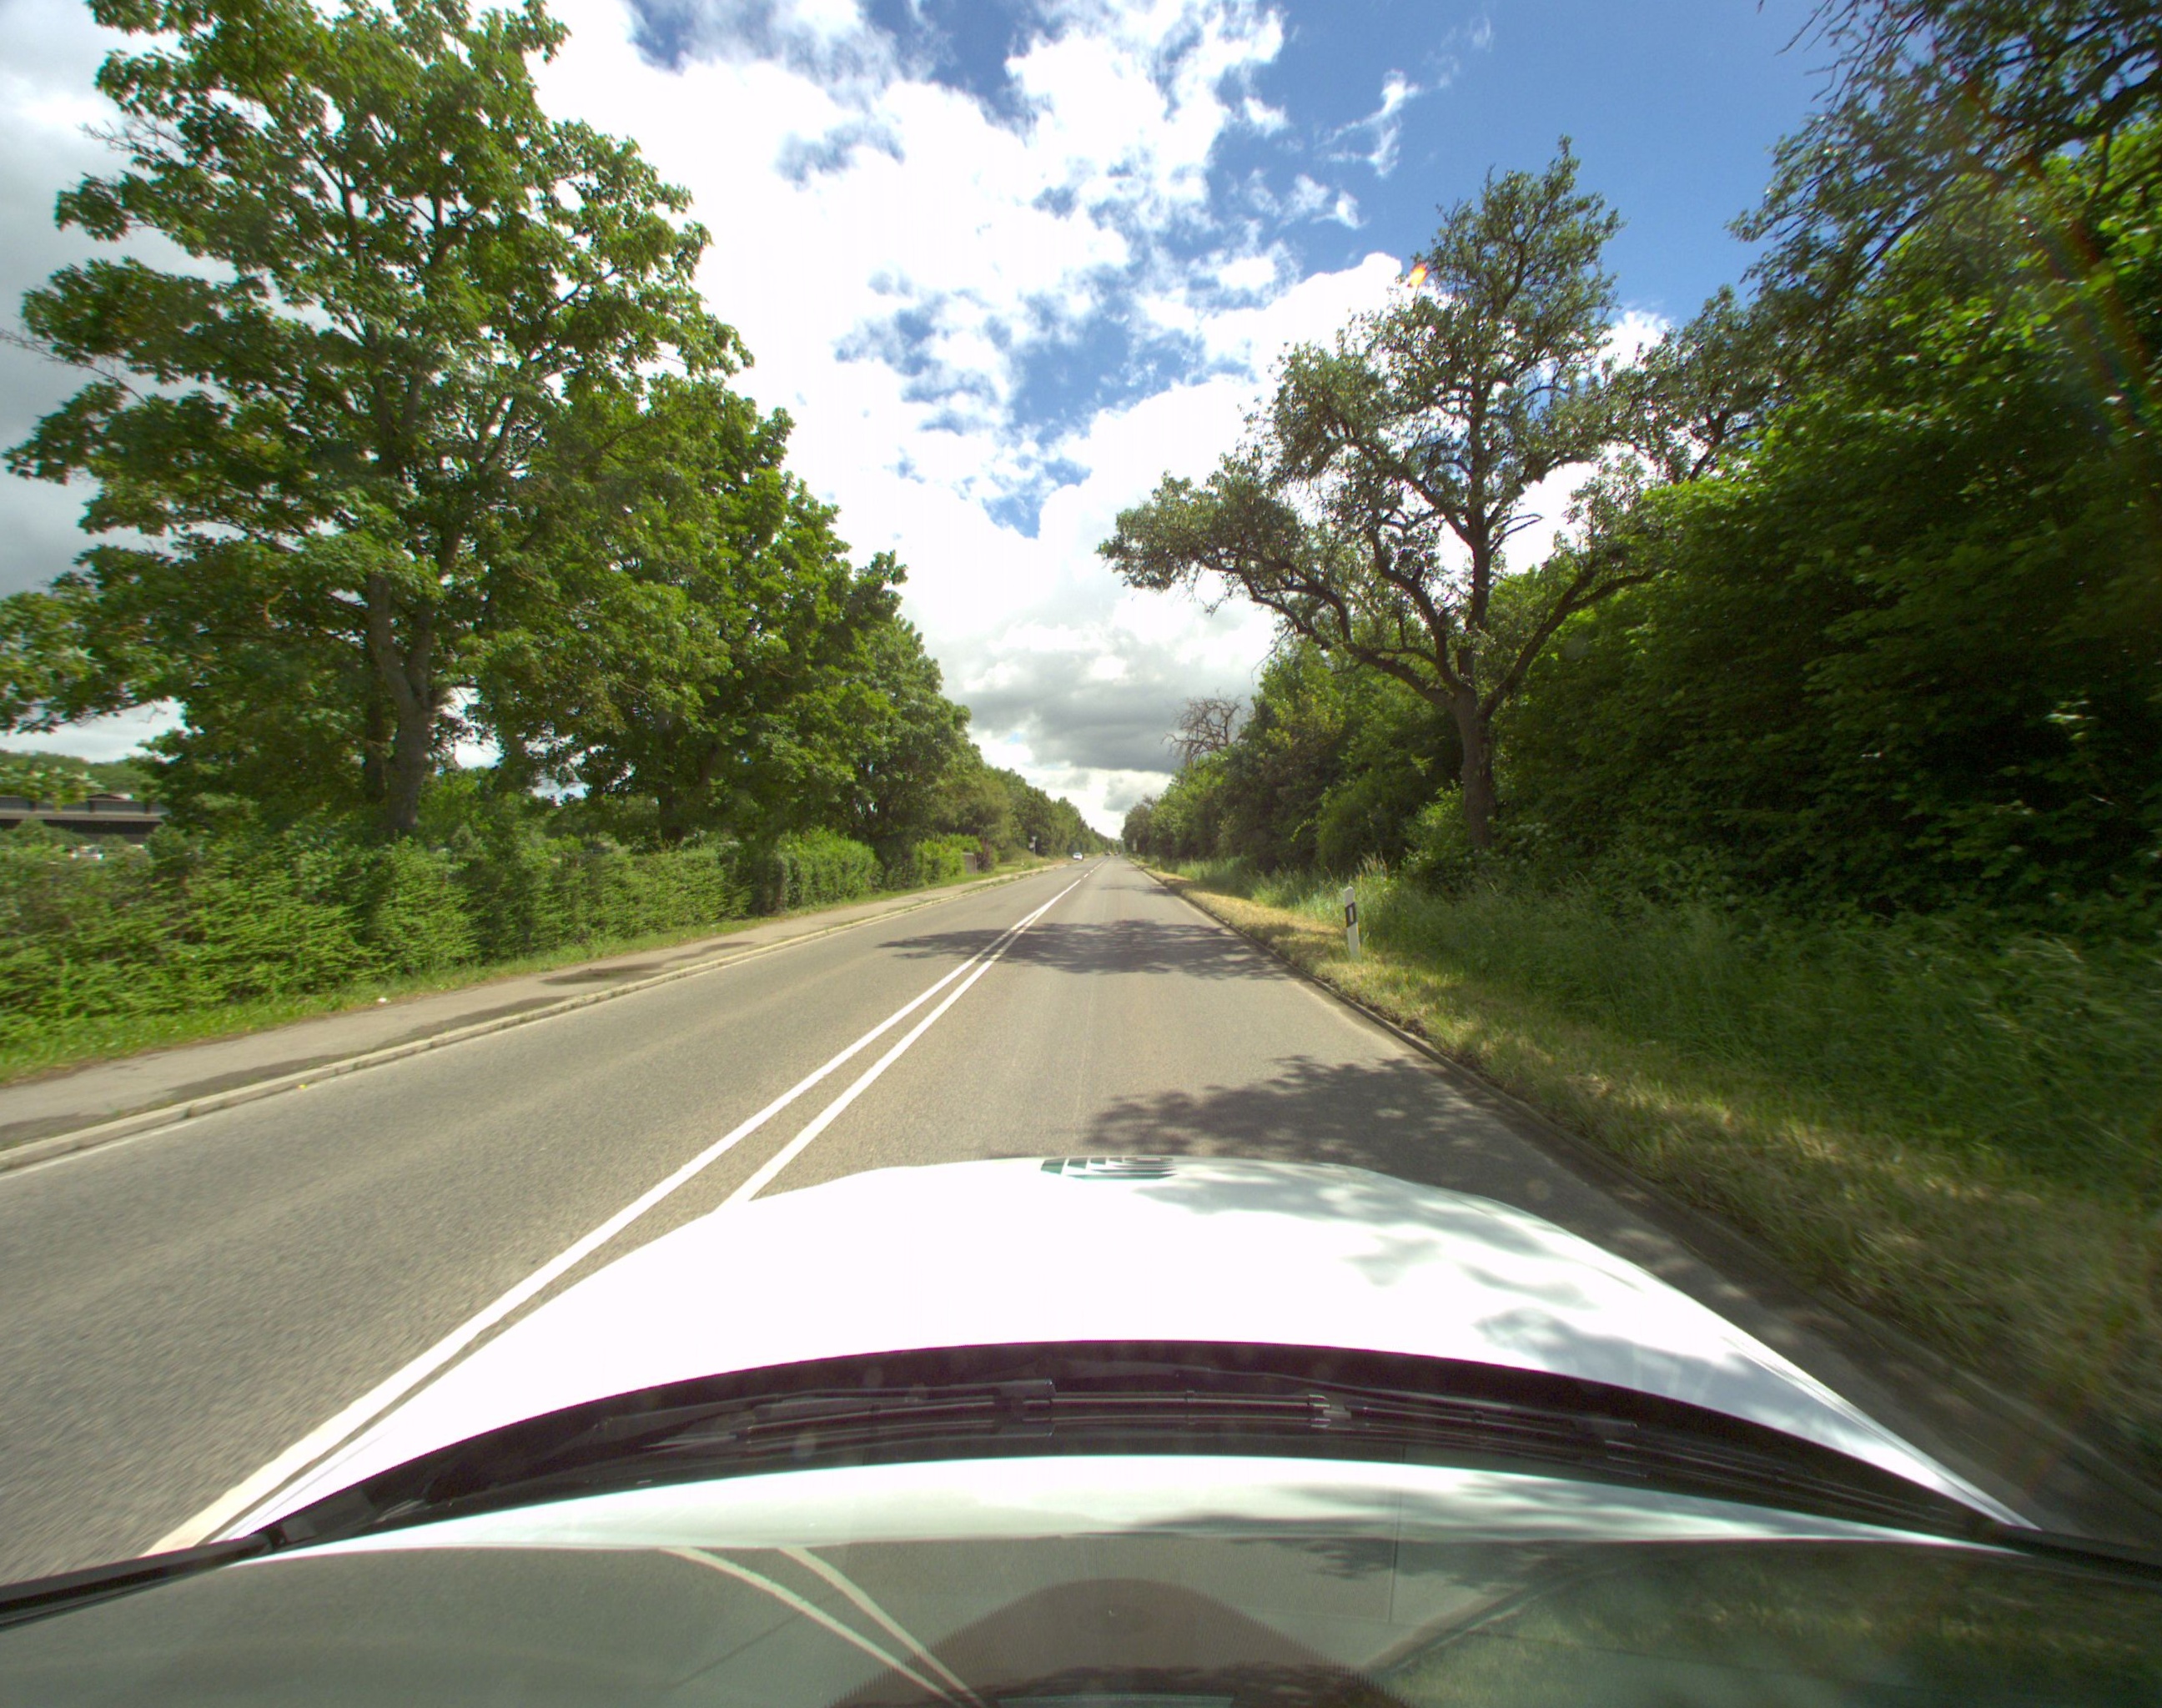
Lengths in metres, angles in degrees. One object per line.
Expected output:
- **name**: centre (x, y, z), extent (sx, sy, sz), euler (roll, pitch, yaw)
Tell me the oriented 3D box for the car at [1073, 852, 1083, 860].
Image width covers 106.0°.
- **car**: centre (-0.625, 0.448, 168.734), extent (1.791, 1.543, 3.957), euler (-1, -1, 2)
